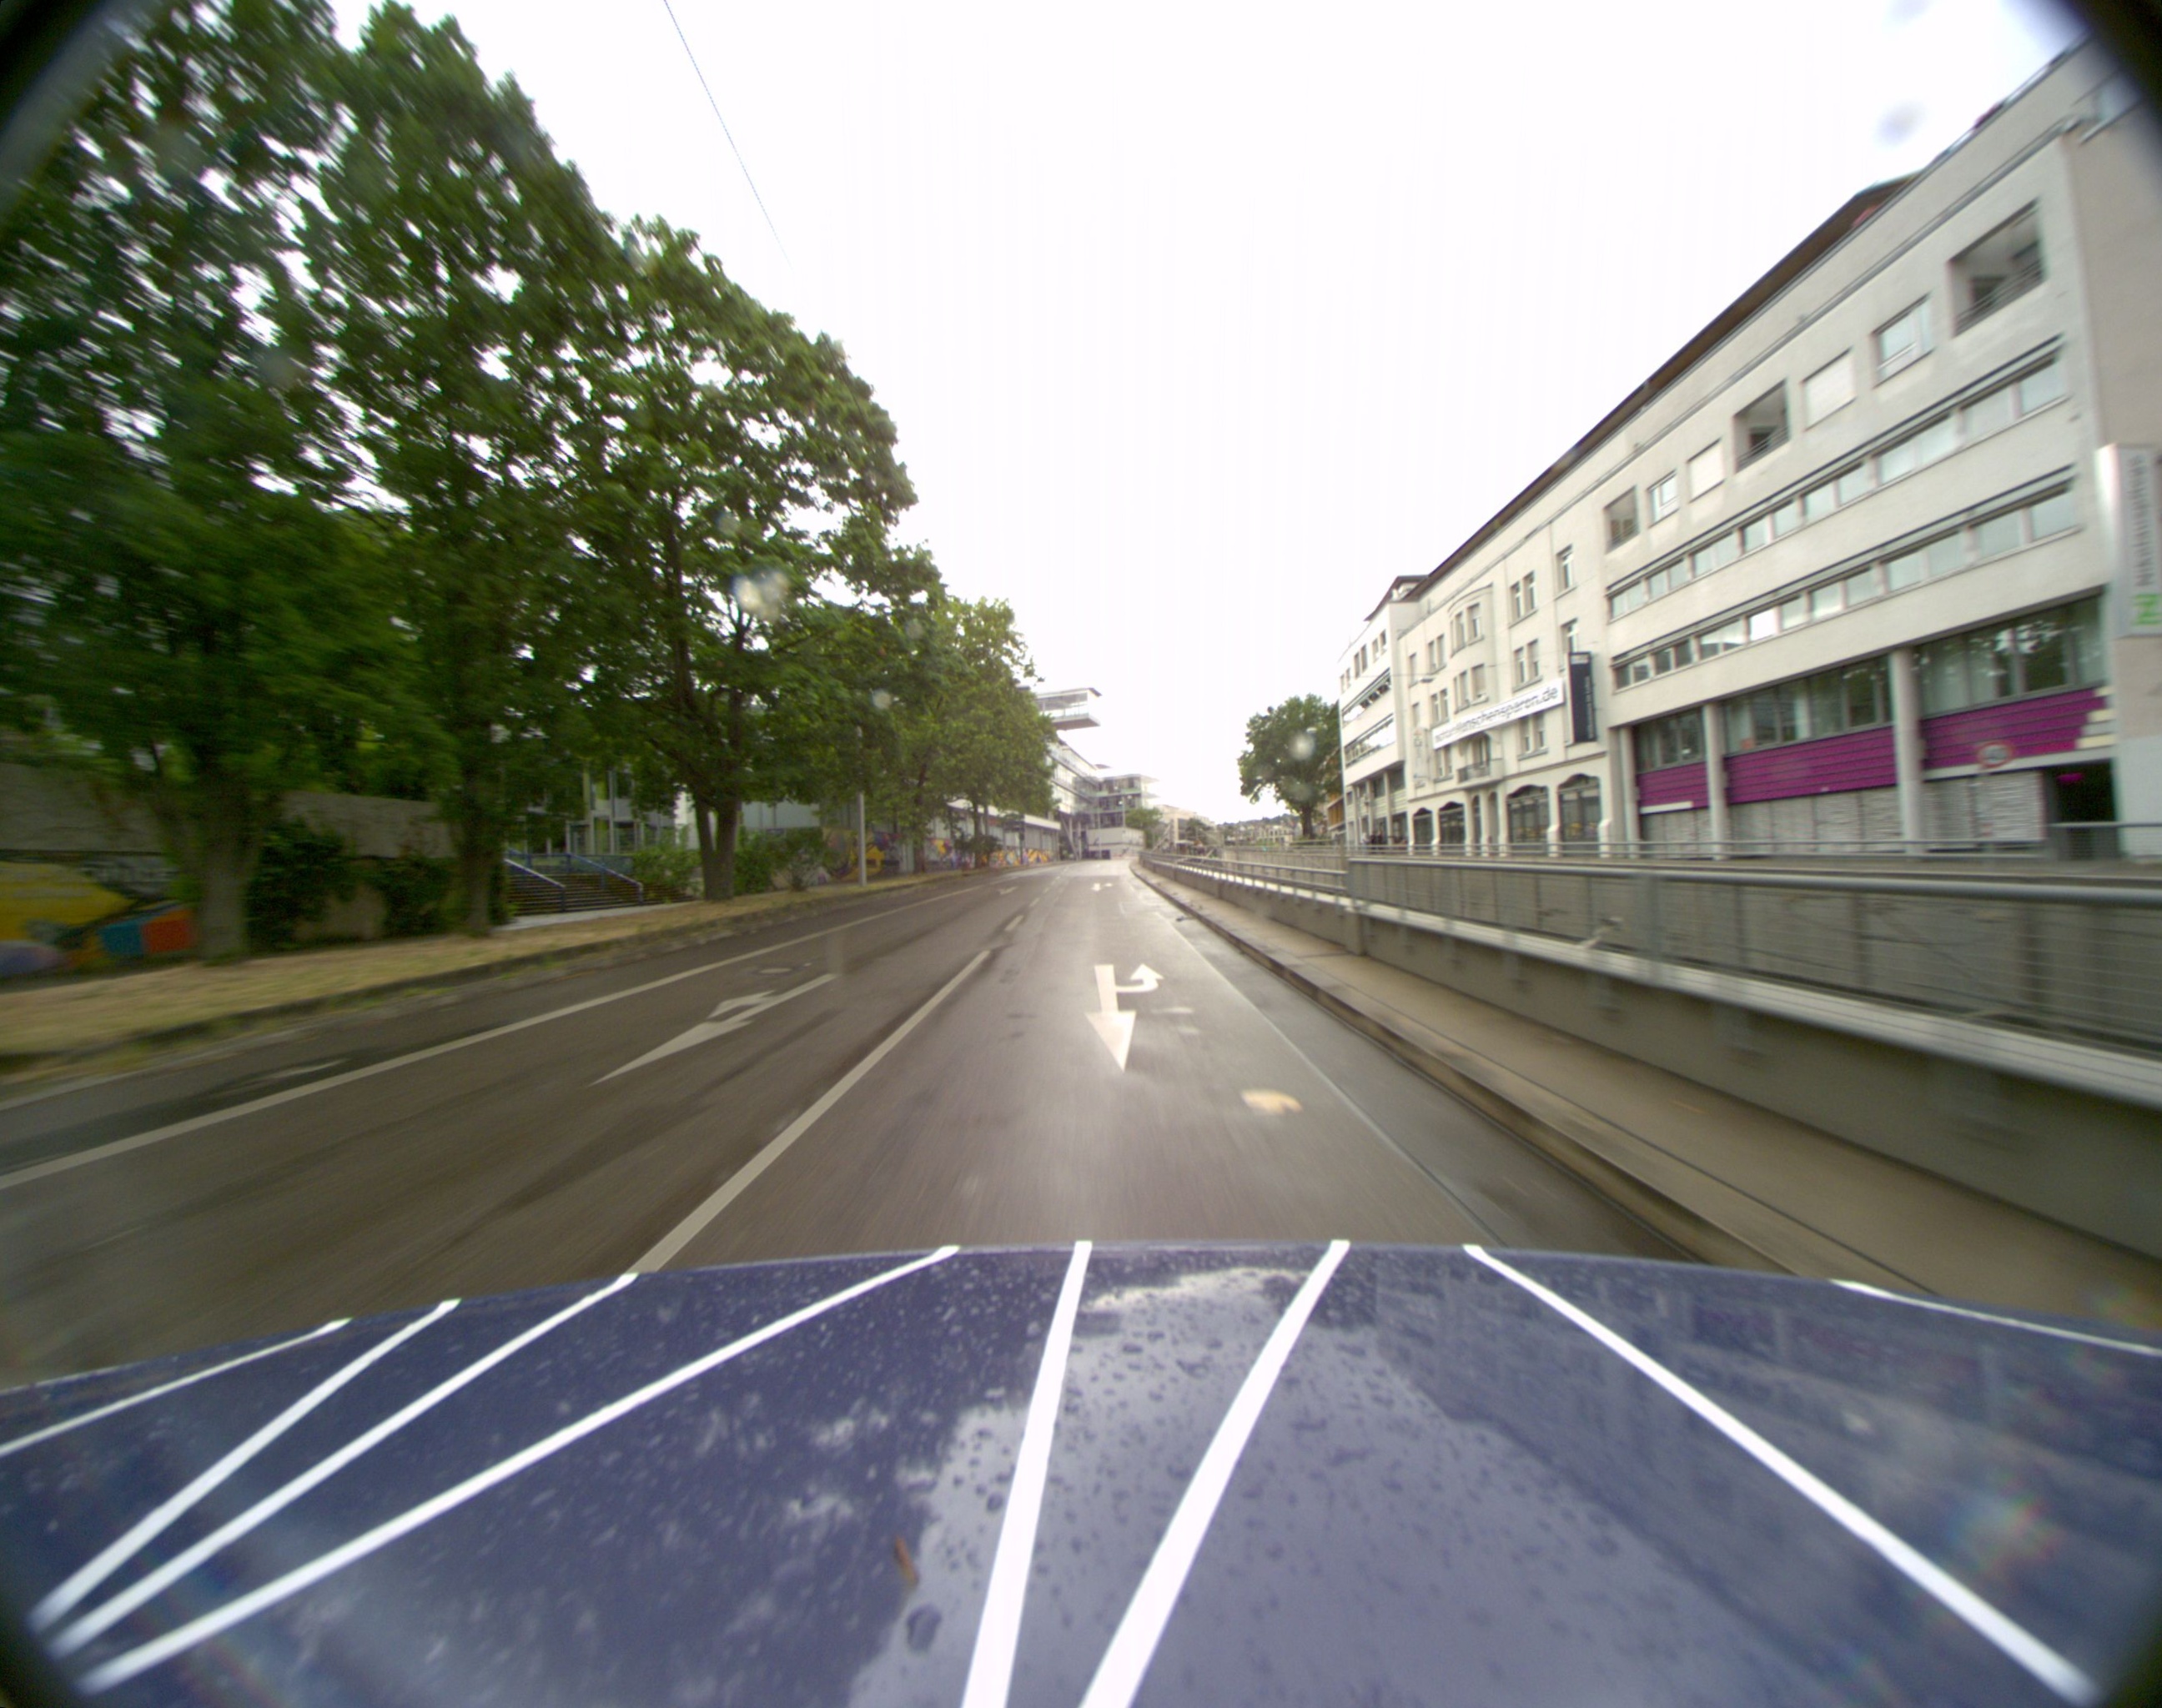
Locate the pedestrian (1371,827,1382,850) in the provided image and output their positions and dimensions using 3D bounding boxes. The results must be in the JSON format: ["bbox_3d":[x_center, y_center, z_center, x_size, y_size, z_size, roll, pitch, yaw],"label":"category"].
[{"bbox_3d":[22.741,-1.186,58.555,0.547,1.792,0.470,-4,1,-7],"label":"pedestrian"}]

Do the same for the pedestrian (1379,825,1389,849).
[{"bbox_3d":[22.828,-1.251,57.292,0.470,1.792,0.547,-3,1,3],"label":"pedestrian"}]
